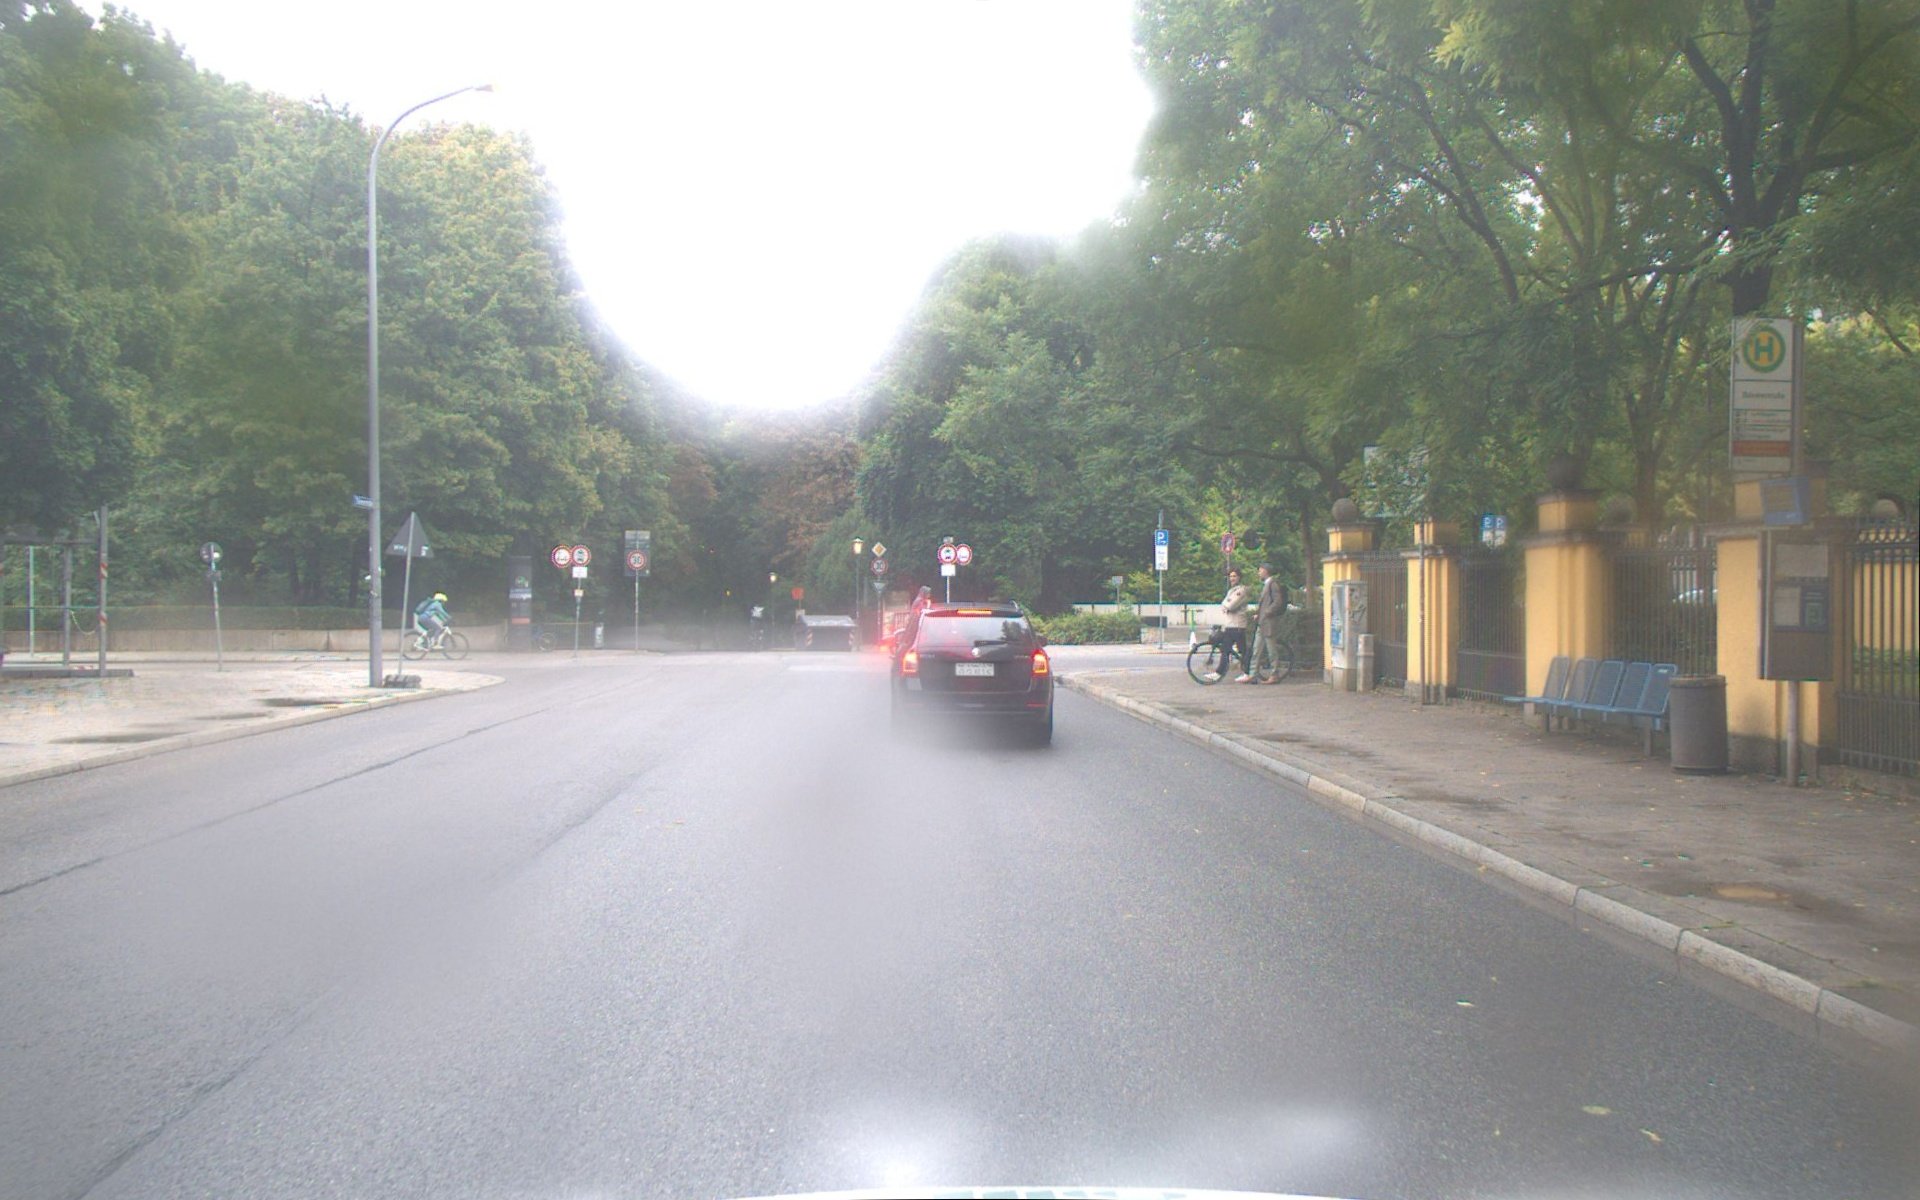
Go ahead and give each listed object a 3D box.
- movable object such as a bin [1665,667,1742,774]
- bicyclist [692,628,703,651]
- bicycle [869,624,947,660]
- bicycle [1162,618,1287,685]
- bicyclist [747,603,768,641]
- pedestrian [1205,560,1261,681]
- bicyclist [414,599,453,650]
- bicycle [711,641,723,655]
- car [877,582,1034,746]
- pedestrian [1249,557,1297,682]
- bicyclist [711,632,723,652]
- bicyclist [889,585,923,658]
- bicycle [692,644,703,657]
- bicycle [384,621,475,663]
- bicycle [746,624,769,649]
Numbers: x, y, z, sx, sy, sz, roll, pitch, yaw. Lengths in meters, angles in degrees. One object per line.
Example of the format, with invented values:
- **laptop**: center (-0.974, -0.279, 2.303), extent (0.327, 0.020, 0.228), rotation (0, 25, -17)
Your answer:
- **movable object such as a bin**: center (5.821, 0.938, 12.965), extent (0.388, 0.794, 0.465), rotation (-1, 0, -1)
- **bicyclist**: center (-17.969, 2.708, 113.286), extent (0.669, 1.530, 0.898), rotation (-1, 0, -12)
- **bicycle**: center (-1.150, 0.936, 36.884), extent (1.727, 0.810, 0.570), rotation (0, -1, -1)
- **bicycle**: center (4.269, 0.824, 26.709), extent (1.871, 0.966, 0.581), rotation (-3, -1, -11)
- **bicyclist**: center (-7.119, 0.768, 58.149), extent (0.667, 1.305, 0.599), rotation (-1, 0, -3)
- **pedestrian**: center (4.517, 0.337, 27.380), extent (0.662, 1.952, 0.639), rotation (-2, -1, -11)
- **bicyclist**: center (-13.121, 0.609, 41.250), extent (0.842, 1.279, 0.519), rotation (0, -1, -30)
- **bicycle**: center (-14.851, 2.934, 101.033), extent (0.666, 0.844, 2.106), rotation (0, -1, -7)
- **car**: center (-0.064, 0.641, 18.437), extent (1.545, 1.611, 4.043), rotation (0, 0, -1)
- **pedestrian**: center (4.959, 0.308, 26.223), extent (0.531, 1.952, 0.491), rotation (-2, -1, -11)
- **bicyclist**: center (-14.856, 2.552, 101.053), extent (0.668, 1.208, 0.480), rotation (-1, 0, -8)
- **bicyclist**: center (-1.198, 0.483, 36.894), extent (0.735, 1.613, 0.655), rotation (0, -1, -1)
- **bicycle**: center (-17.946, 3.449, 113.088), extent (0.668, 0.844, 2.103), rotation (0, -1, -13)
- **bicycle**: center (-13.222, 1.035, 41.224), extent (2.081, 1.008, 0.675), rotation (0, -1, -30)
- **bicycle**: center (-7.101, 1.263, 58.052), extent (0.666, 0.844, 2.108), rotation (0, -1, -3)
